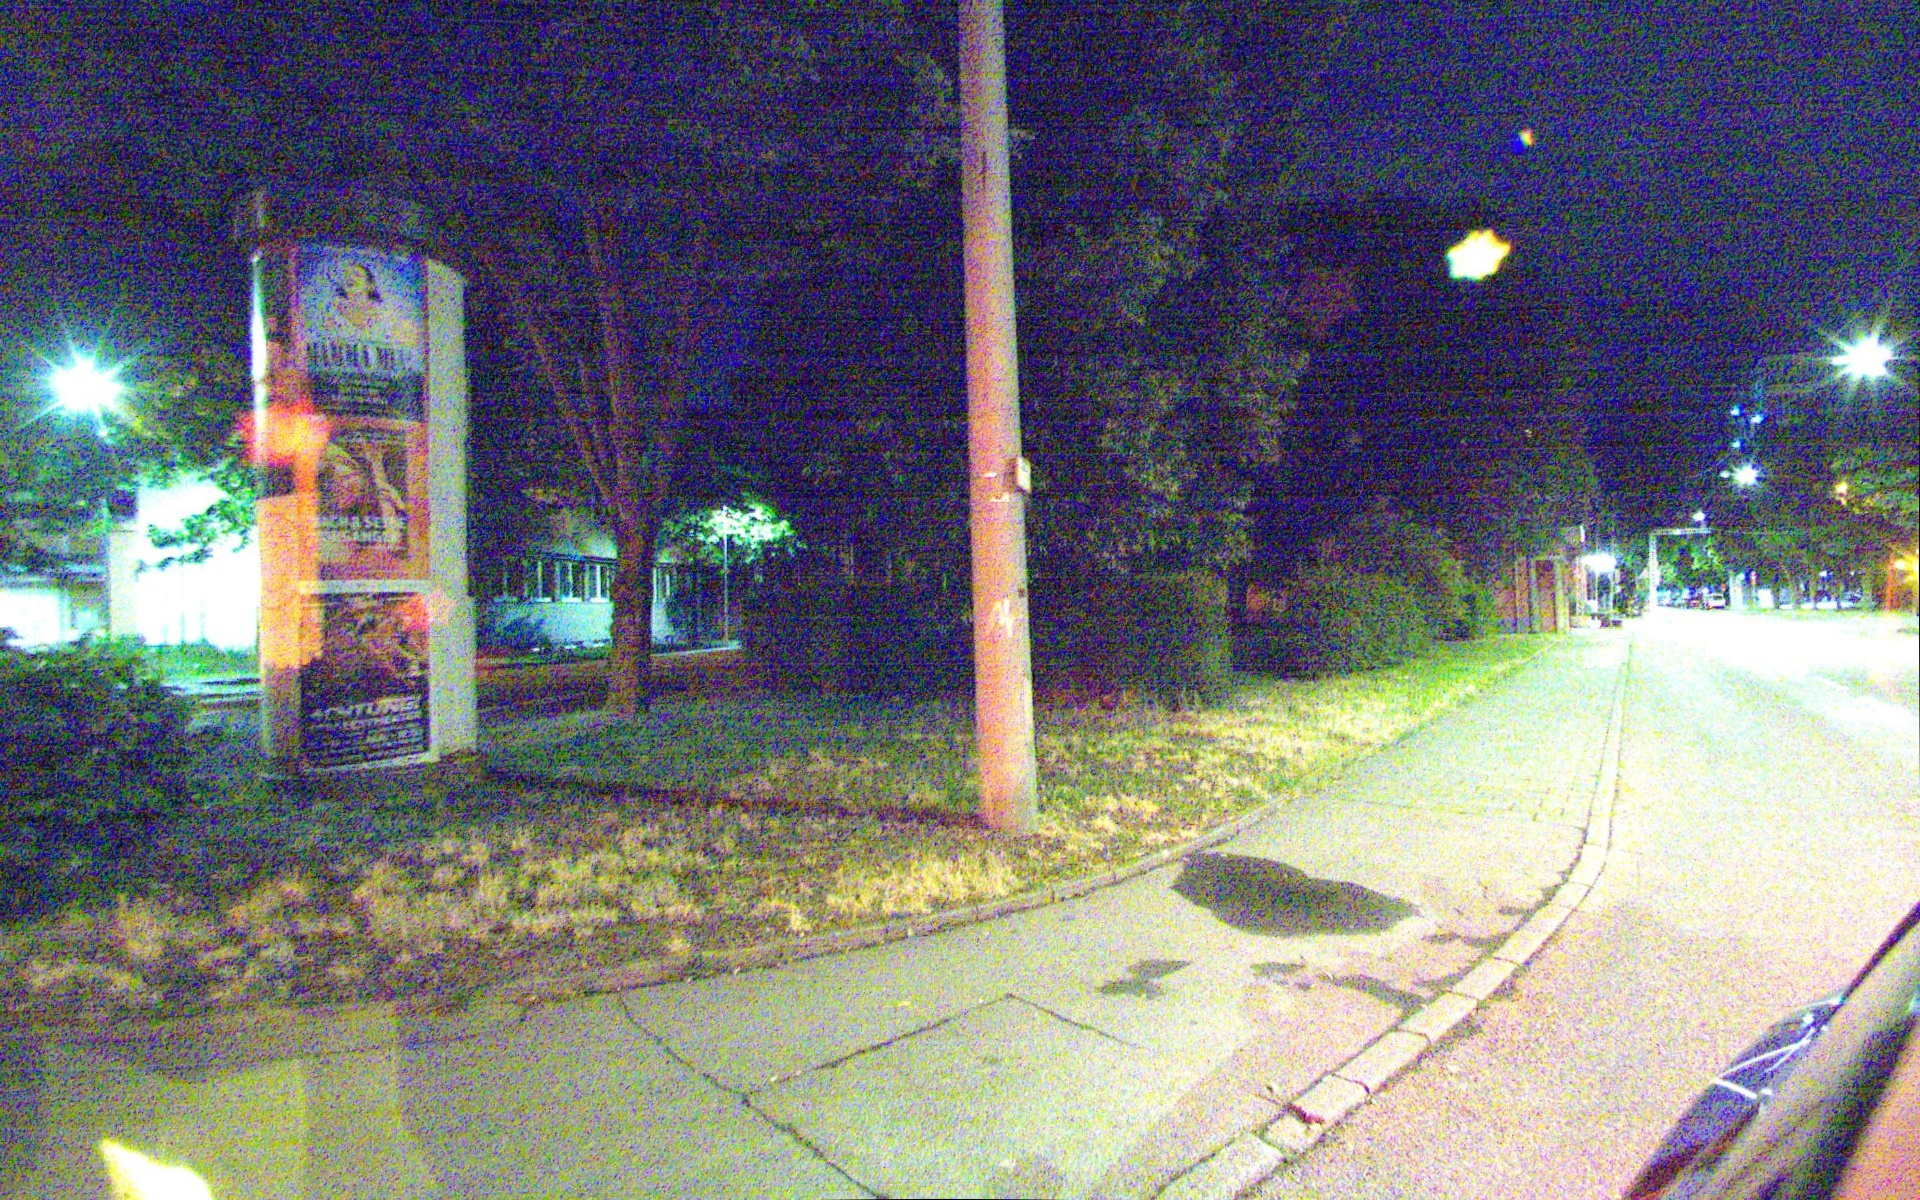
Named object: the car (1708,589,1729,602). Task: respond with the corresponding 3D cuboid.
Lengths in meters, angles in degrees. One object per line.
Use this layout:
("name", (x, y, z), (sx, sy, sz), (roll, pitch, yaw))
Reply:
("car", (91.686, -0.554, 122.377), (1.815, 1.450, 3.684), (-5, -3, 35))

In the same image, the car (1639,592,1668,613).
("car", (50.436, 0.180, 73.578), (1.582, 1.480, 3.747), (-3, -1, 36))

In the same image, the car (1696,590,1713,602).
("car", (103.486, -0.545, 140.703), (1.815, 1.668, 3.684), (-1, 0, 35))

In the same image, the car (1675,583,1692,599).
("car", (127.326, -1.548, 178.135), (1.990, 2.540, 4.898), (-5, -3, 32))

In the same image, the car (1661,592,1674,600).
("car", (141.027, -0.750, 201.651), (1.813, 1.450, 3.689), (-5, -3, 32))

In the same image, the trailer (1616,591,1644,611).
("trailer", (53.996, 0.066, 81.505), (1.596, 1.514, 3.683), (-3, -2, 37))

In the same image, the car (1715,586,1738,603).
("car", (88.734, -0.623, 117.212), (1.871, 1.832, 3.684), (-5, -3, 35))
